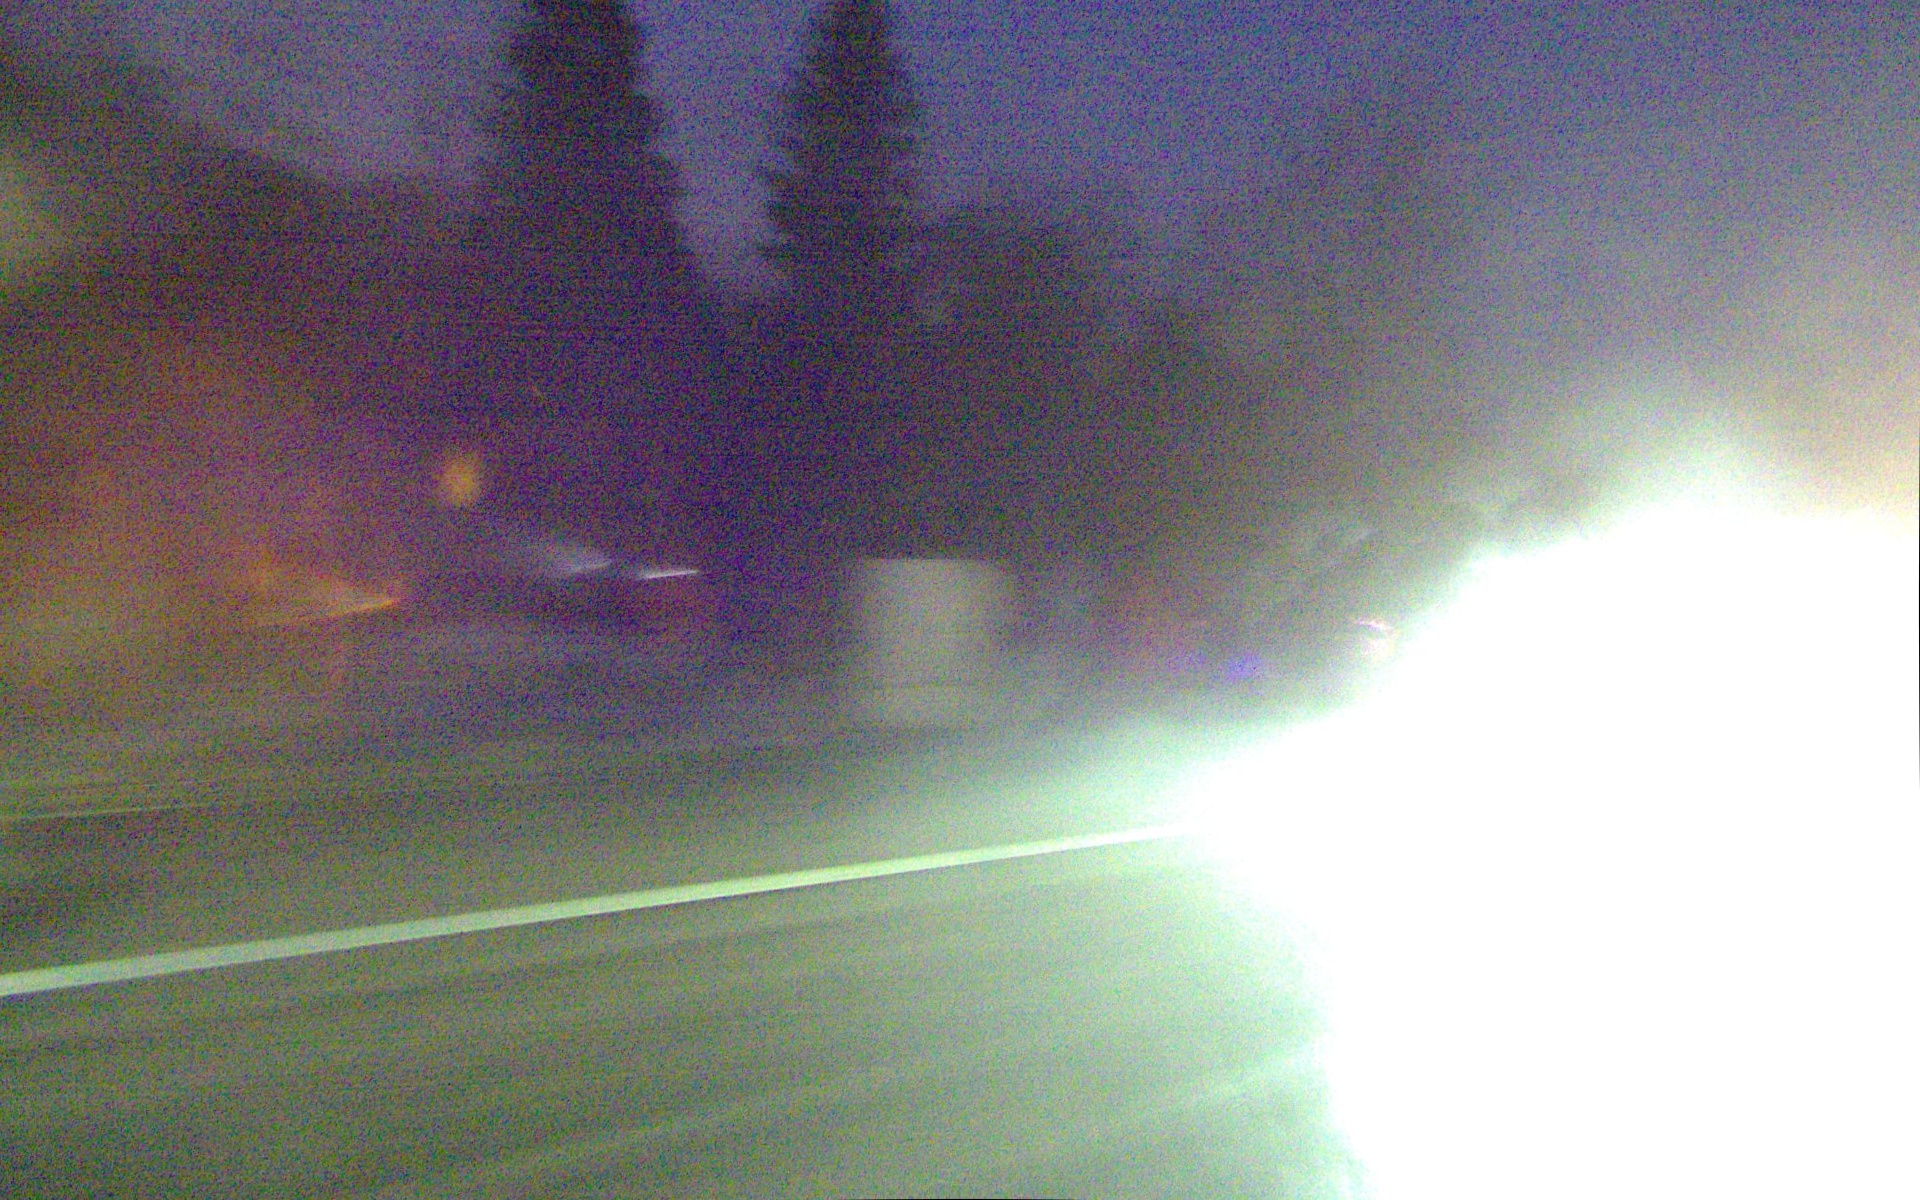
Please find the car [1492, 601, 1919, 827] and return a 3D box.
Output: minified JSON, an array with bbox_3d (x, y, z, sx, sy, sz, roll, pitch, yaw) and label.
[{"bbox_3d":[6.894,0.811,8.644,4.612,1.437,1.983,2,1,-31],"label":"car"}]
